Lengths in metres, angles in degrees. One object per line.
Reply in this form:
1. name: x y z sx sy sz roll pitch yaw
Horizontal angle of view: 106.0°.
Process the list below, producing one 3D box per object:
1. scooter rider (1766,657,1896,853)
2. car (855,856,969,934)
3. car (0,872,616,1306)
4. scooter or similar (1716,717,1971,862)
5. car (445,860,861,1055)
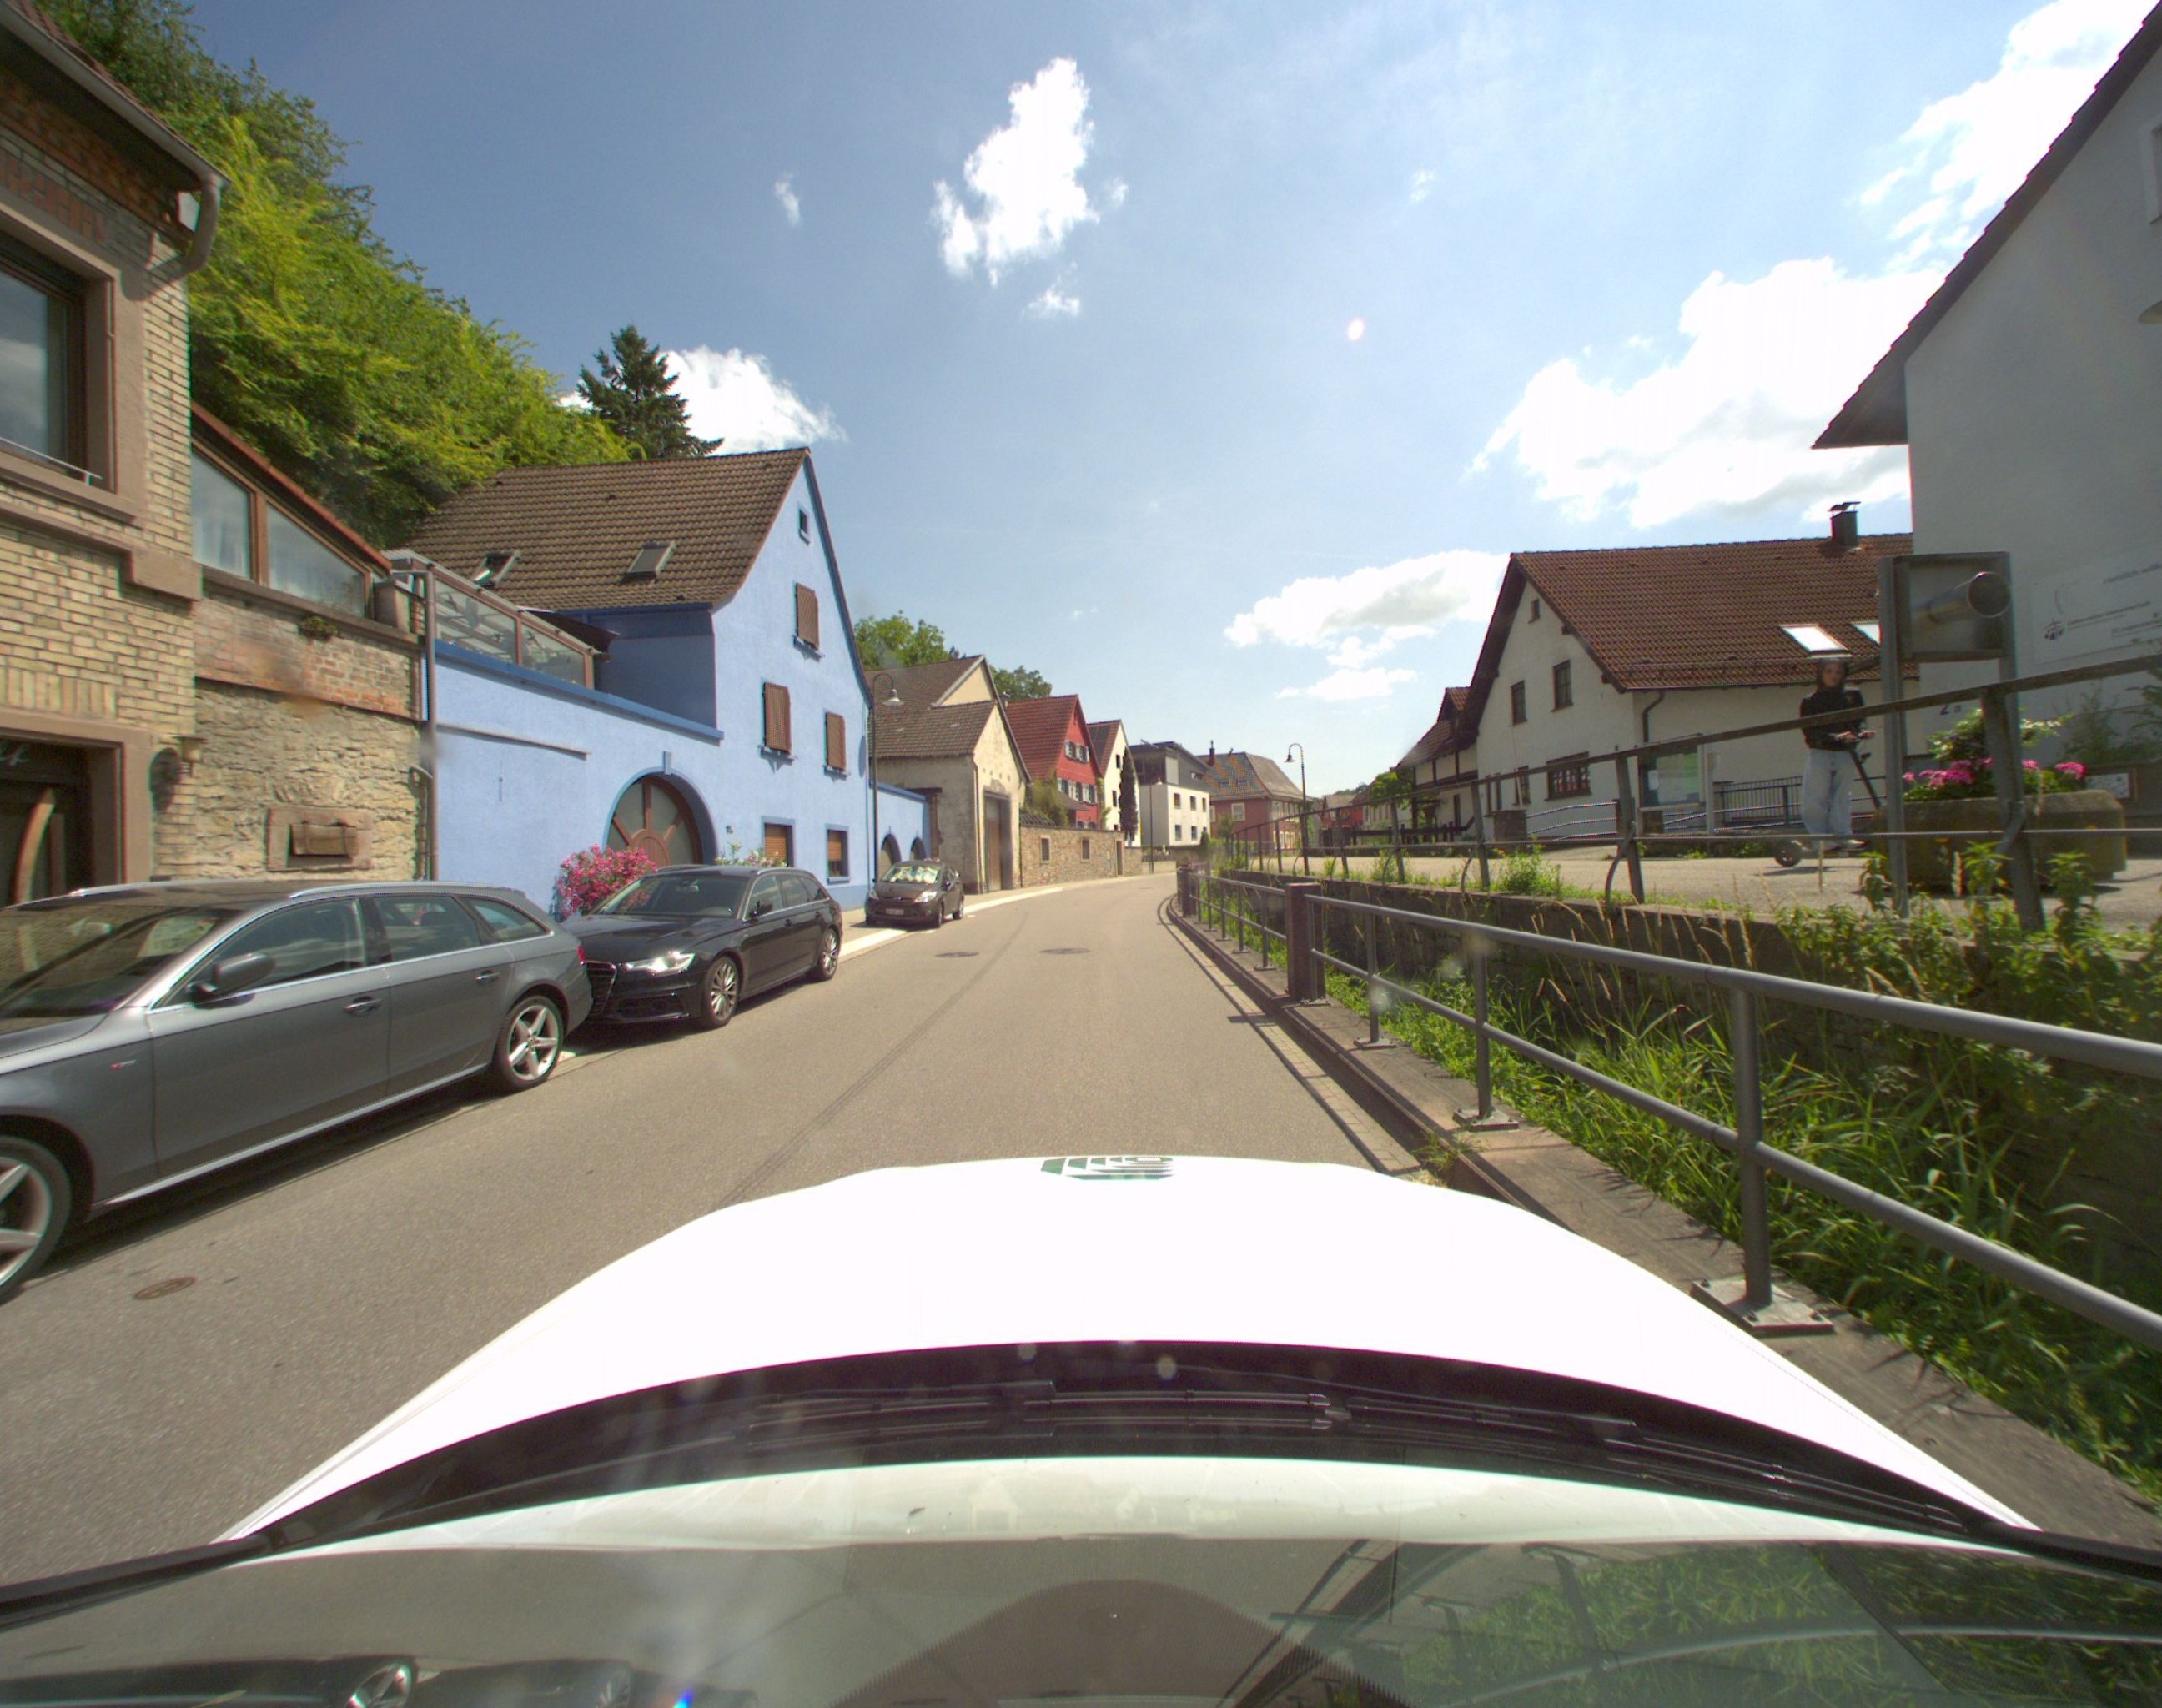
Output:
1. scooter rider: 6.931 -0.882 7.551 0.639 1.732 0.554 -1 -1 2
2. car: -3.852 0.873 19.251 1.711 1.530 3.858 3 0 1
3. car: -4.646 0.855 4.088 1.950 1.466 4.545 -2 -1 1
4. scooter or similar: 6.915 -0.519 7.539 0.639 1.142 1.812 -3 -1 2
5. car: -4.102 0.853 8.922 1.877 1.464 4.672 1 0 3
